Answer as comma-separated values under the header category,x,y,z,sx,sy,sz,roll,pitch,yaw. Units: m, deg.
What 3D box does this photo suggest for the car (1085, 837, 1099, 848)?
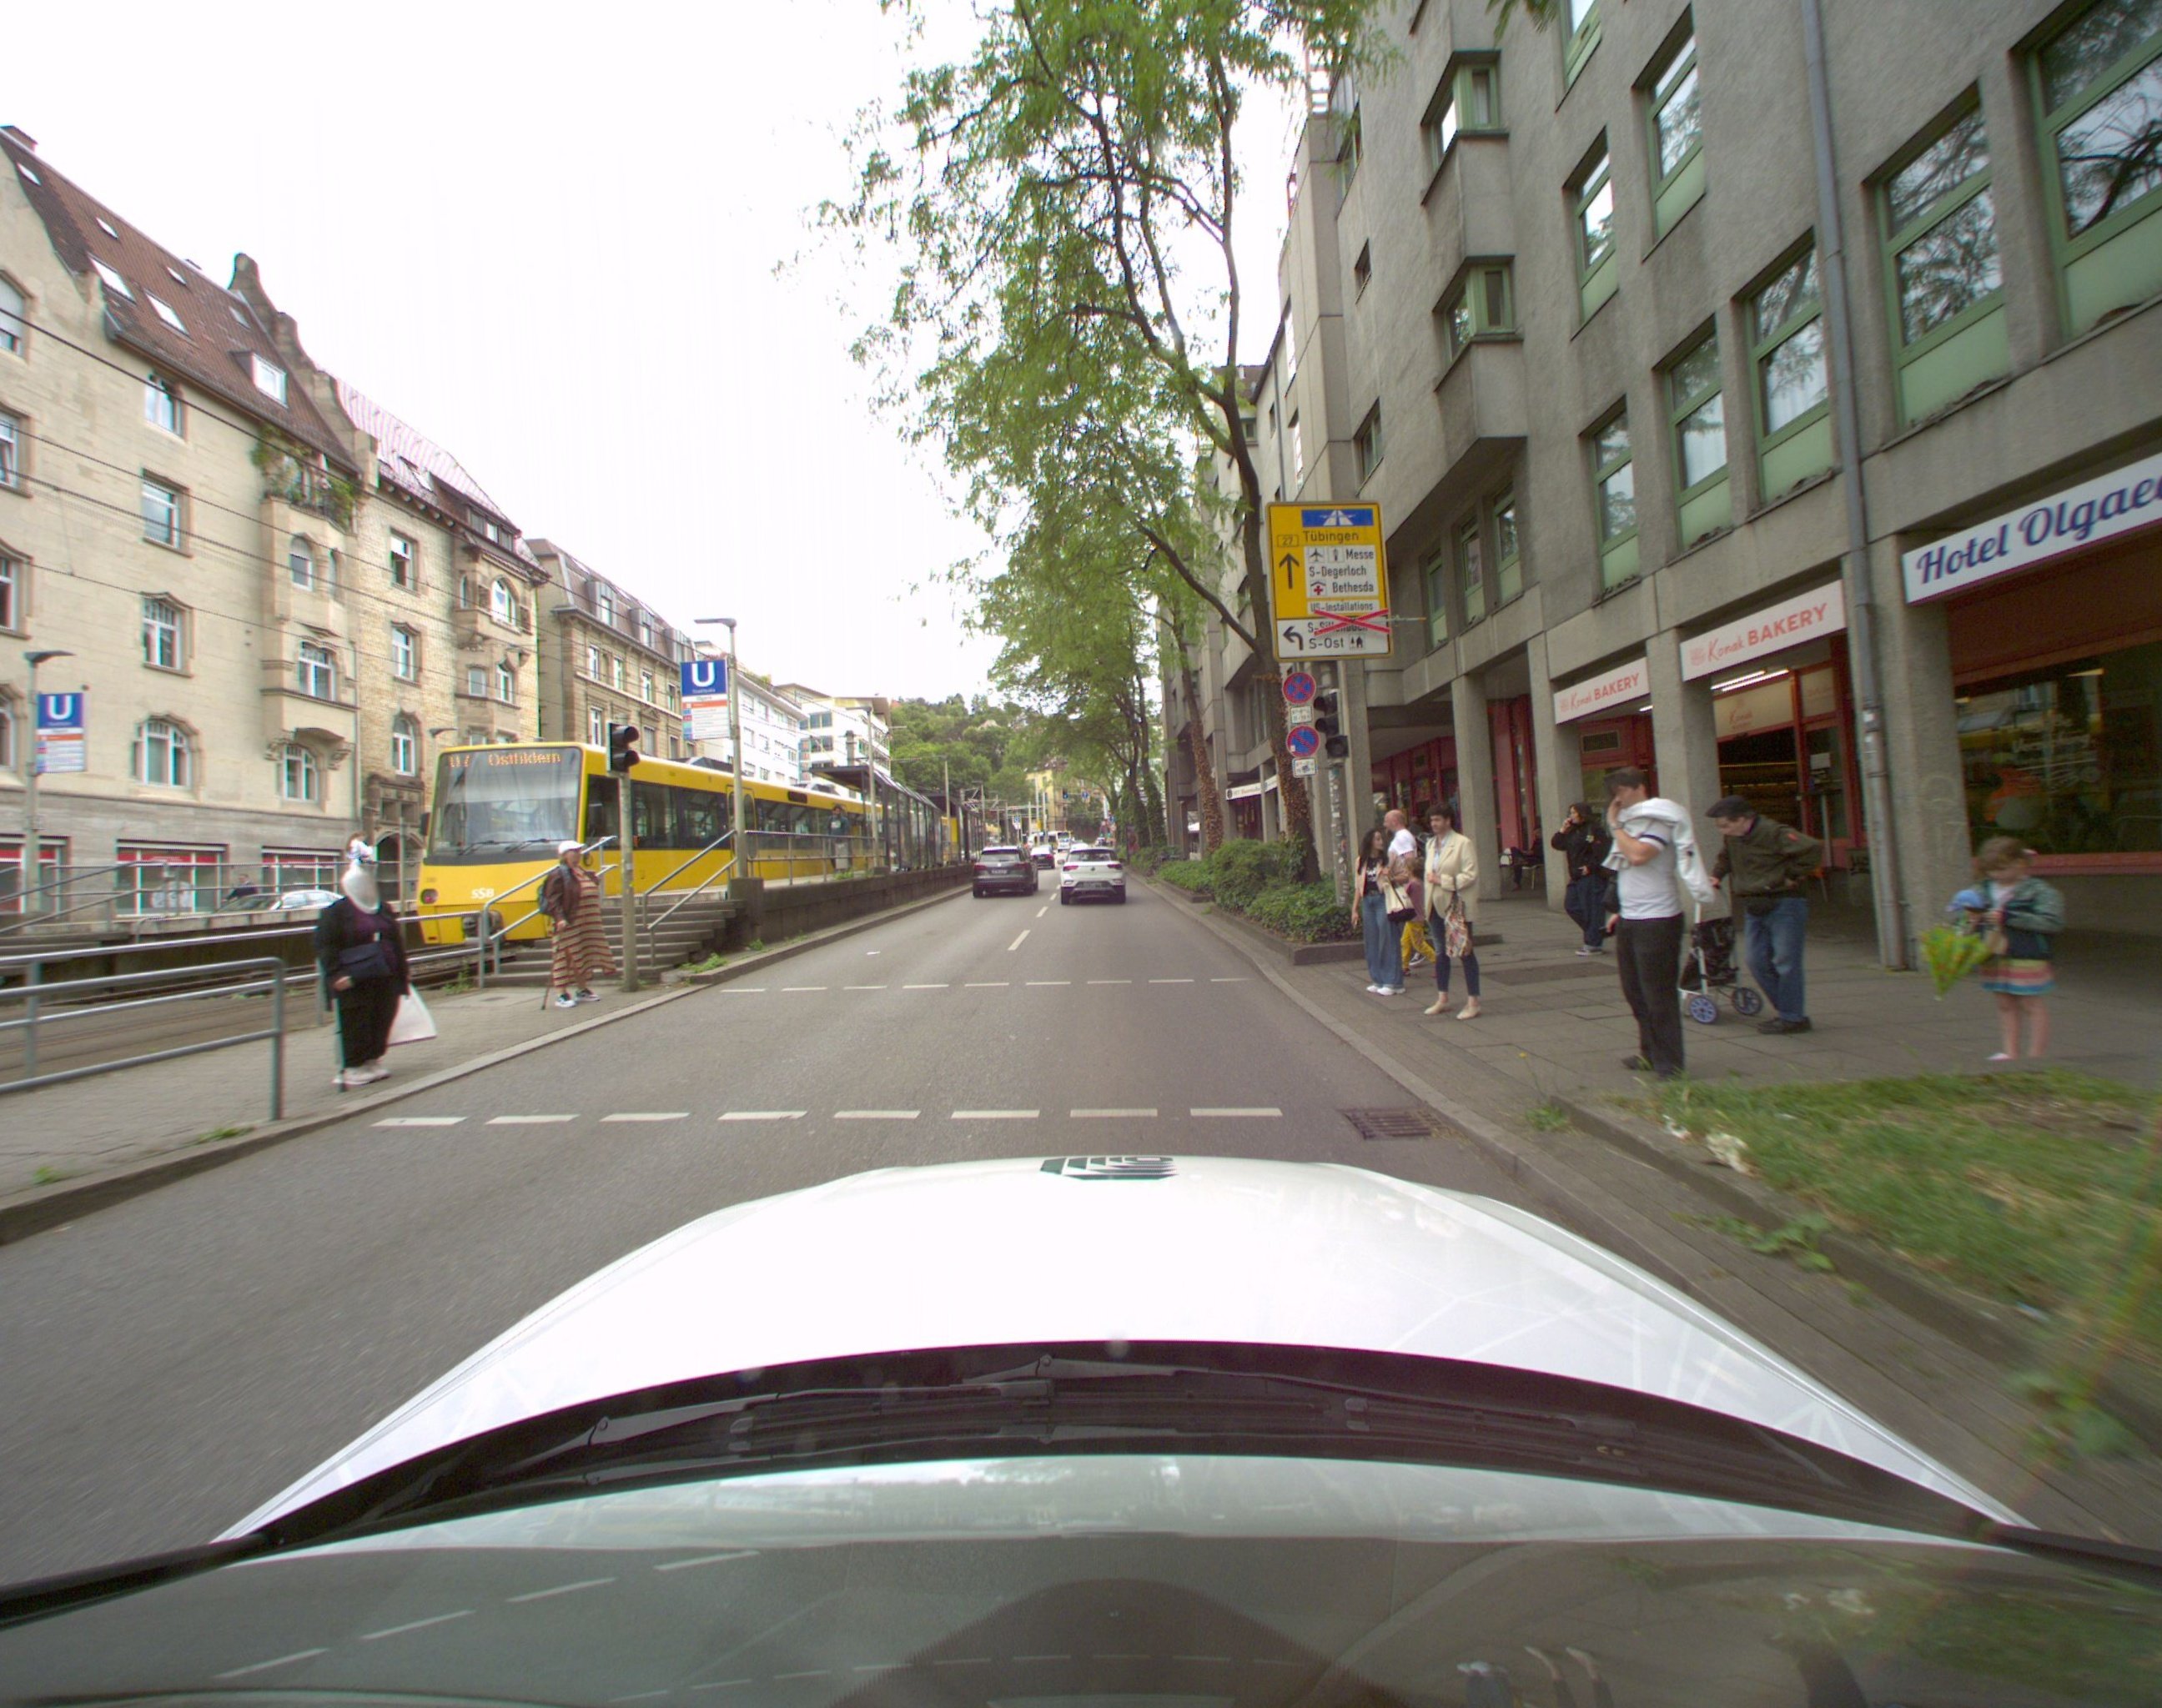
category,x,y,z,sx,sy,sz,roll,pitch,yaw
car,1.872,-1.859,138.185,1.882,1.684,4.153,-1,-1,-5

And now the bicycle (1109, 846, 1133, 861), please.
category,x,y,z,sx,sy,sz,roll,pitch,yaw
bicycle,3.290,-0.010,66.141,1.871,1.137,0.809,-1,-1,6

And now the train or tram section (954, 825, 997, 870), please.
category,x,y,z,sx,sy,sz,roll,pitch,yaw
train or tram section,-9.081,-0.508,70.913,2.805,3.666,6.748,-1,0,-1

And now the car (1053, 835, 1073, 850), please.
category,x,y,z,sx,sy,sz,roll,pitch,yaw
car,-2.611,-1.701,118.670,2.354,2.014,5.152,-1,-1,3

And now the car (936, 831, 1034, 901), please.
category,x,y,z,sx,sy,sz,roll,pitch,yaw
car,-2.960,0.400,26.481,2.355,2.014,5.150,-1,-1,2

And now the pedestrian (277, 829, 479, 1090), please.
category,x,y,z,sx,sy,sz,roll,pitch,yaw
pedestrian,-5.012,0.702,5.869,0.633,1.711,0.871,-2,0,0

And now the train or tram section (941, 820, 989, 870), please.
category,x,y,z,sx,sy,sz,roll,pitch,yaw
train or tram section,-9.009,-0.696,64.020,2.805,3.666,6.748,-1,0,-1

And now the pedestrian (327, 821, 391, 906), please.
category,x,y,z,sx,sy,sz,roll,pitch,yaw
pedestrian,-15.063,0.192,17.007,0.686,1.711,0.661,-2,0,-1

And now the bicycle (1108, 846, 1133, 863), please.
category,x,y,z,sx,sy,sz,roll,pitch,yaw
bicycle,3.112,0.026,64.648,1.869,1.266,0.766,-2,-1,11

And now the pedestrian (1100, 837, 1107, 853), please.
category,x,y,z,sx,sy,sz,roll,pitch,yaw
pedestrian,2.857,-1.139,104.974,0.758,2.014,0.839,-1,-1,5

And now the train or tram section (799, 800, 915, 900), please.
category,x,y,z,sx,sy,sz,roll,pitch,yaw
train or tram section,-8.633,-0.130,32.098,2.825,3.521,5.752,-1,0,1

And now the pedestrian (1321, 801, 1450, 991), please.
category,x,y,z,sx,sy,sz,roll,pitch,yaw
pedestrian,2.954,0.388,7.978,0.834,1.704,0.763,-4,0,-4

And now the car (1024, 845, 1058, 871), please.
category,x,y,z,sx,sy,sz,roll,pitch,yaw
car,-2.651,0.244,54.954,1.904,1.689,4.003,-1,1,2

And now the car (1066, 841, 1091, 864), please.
category,x,y,z,sx,sy,sz,roll,pitch,yaw
car,-0.197,-0.100,65.572,1.878,1.684,4.161,-1,-1,1

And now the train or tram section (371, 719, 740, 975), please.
category,x,y,z,sx,sy,sz,roll,pitch,yaw
train or tram section,-8.901,-0.105,14.792,2.825,3.679,5.752,-1,0,1

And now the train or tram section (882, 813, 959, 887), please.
category,x,y,z,sx,sy,sz,roll,pitch,yaw
train or tram section,-8.463,-0.206,43.698,2.803,3.666,5.903,-1,0,1

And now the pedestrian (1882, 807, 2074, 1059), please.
category,x,y,z,sx,sy,sz,roll,pitch,yaw
pedestrian,5.058,0.422,4.619,0.470,1.334,0.519,-1,-1,-4

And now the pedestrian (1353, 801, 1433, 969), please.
category,x,y,z,sx,sy,sz,roll,pitch,yaw
pedestrian,3.483,0.338,9.132,0.517,1.789,0.763,-1,-1,-4

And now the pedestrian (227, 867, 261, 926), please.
category,x,y,z,sx,sy,sz,roll,pitch,yaw
pedestrian,-25.647,1.301,24.964,0.632,1.762,0.836,-1,-1,-43

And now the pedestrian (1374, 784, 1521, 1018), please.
category,x,y,z,sx,sy,sz,roll,pitch,yaw
pedestrian,3.019,0.371,6.776,0.692,1.777,0.688,-7,0,-4

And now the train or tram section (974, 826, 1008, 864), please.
category,x,y,z,sx,sy,sz,roll,pitch,yaw
train or tram section,-9.272,-0.913,84.444,2.805,3.666,6.748,-1,0,-1

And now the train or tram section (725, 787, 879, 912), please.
category,x,y,z,sx,sy,sz,roll,pitch,yaw
train or tram section,-8.741,-0.129,26.315,2.825,3.521,5.752,-1,0,1

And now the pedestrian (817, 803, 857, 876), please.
category,x,y,z,sx,sy,sz,roll,pitch,yaw
pedestrian,-5.949,-0.338,19.866,0.715,1.731,0.671,-1,-1,1

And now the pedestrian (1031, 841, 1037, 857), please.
category,x,y,z,sx,sy,sz,roll,pitch,yaw
pedestrian,-6.142,-0.632,106.207,0.759,2.014,0.838,-1,-1,0

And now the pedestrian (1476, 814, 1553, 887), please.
category,x,y,z,sx,sy,sz,roll,pitch,yaw
pedestrian,8.674,-0.070,16.326,1.055,1.363,0.755,-4,0,-7

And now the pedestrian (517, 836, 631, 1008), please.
category,x,y,z,sx,sy,sz,roll,pitch,yaw
pedestrian,-5.308,0.682,8.572,0.683,1.711,0.711,-2,0,0

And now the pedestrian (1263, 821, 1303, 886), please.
category,x,y,z,sx,sy,sz,roll,pitch,yaw
pedestrian,5.795,-0.030,23.401,0.761,1.782,0.846,-4,2,-5

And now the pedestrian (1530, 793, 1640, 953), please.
category,x,y,z,sx,sy,sz,roll,pitch,yaw
pedestrian,5.409,0.186,8.777,0.615,1.612,0.763,-4,2,-4

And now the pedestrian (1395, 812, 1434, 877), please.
category,x,y,z,sx,sy,sz,roll,pitch,yaw
pedestrian,9.314,-0.276,22.753,0.758,1.723,0.678,-4,2,4

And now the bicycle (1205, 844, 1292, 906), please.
category,x,y,z,sx,sy,sz,roll,pitch,yaw
bicycle,3.565,0.438,17.369,1.706,1.184,0.447,-4,0,-8

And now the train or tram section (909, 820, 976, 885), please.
category,x,y,z,sx,sy,sz,roll,pitch,yaw
train or tram section,-8.381,-0.104,50.029,2.803,3.666,6.752,-1,0,1

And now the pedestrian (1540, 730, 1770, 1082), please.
category,x,y,z,sx,sy,sz,roll,pitch,yaw
pedestrian,3.318,0.279,4.777,0.732,1.874,0.732,-2,-1,-4

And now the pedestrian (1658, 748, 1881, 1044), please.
category,x,y,z,sx,sy,sz,roll,pitch,yaw
pedestrian,4.619,0.251,5.522,0.720,1.802,0.833,-4,2,-4

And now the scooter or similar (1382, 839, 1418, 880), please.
category,x,y,z,sx,sy,sz,roll,pitch,yaw
scooter or similar,9.252,0.159,23.649,0.849,1.110,0.768,-4,-1,16

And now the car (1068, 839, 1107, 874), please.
category,x,y,z,sx,sy,sz,roll,pitch,yaw
car,0.322,0.153,42.798,1.879,1.684,4.160,-1,-1,0

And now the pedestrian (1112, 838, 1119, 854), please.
category,x,y,z,sx,sy,sz,roll,pitch,yaw
pedestrian,4.250,-0.991,100.234,0.758,2.014,0.839,-1,-1,5

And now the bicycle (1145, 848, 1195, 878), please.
category,x,y,z,sx,sy,sz,roll,pitch,yaw
bicycle,3.687,0.371,33.896,1.911,1.076,0.612,-5,0,-3

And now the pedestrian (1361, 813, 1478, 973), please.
category,x,y,z,sx,sy,sz,roll,pitch,yaw
pedestrian,3.488,0.386,8.456,0.834,1.563,0.763,-1,-1,-4

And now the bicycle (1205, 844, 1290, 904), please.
category,x,y,z,sx,sy,sz,roll,pitch,yaw
bicycle,3.646,0.432,17.855,1.706,1.184,0.447,-4,0,-8

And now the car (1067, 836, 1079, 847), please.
category,x,y,z,sx,sy,sz,roll,pitch,yaw
car,-1.256,-1.984,133.739,1.878,1.684,4.161,-1,-1,1

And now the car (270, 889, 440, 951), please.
category,x,y,z,sx,sy,sz,roll,pitch,yaw
car,-20.685,1.833,23.410,1.553,1.524,3.601,-1,-1,2

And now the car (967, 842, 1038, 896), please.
category,x,y,z,sx,sy,sz,roll,pitch,yaw
car,-2.585,0.457,27.735,1.987,1.636,3.999,-2,1,-1

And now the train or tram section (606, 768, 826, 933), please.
category,x,y,z,sx,sy,sz,roll,pitch,yaw
train or tram section,-8.823,-0.079,20.559,2.825,3.521,5.752,-1,0,1

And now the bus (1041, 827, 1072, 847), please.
category,x,y,z,sx,sy,sz,roll,pitch,yaw
bus,-4.530,-2.940,145.948,3.374,3.065,13.271,-1,-1,-11

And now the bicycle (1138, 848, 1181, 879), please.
category,x,y,z,sx,sy,sz,roll,pitch,yaw
bicycle,3.136,0.375,32.673,1.613,1.128,0.614,-5,0,3

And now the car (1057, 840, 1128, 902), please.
category,x,y,z,sx,sy,sz,roll,pitch,yaw
car,0.290,0.418,23.452,1.832,1.583,4.156,-1,1,0

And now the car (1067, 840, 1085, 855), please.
category,x,y,z,sx,sy,sz,roll,pitch,yaw
car,-0.598,-0.794,101.375,1.877,1.684,4.163,-1,-1,2
